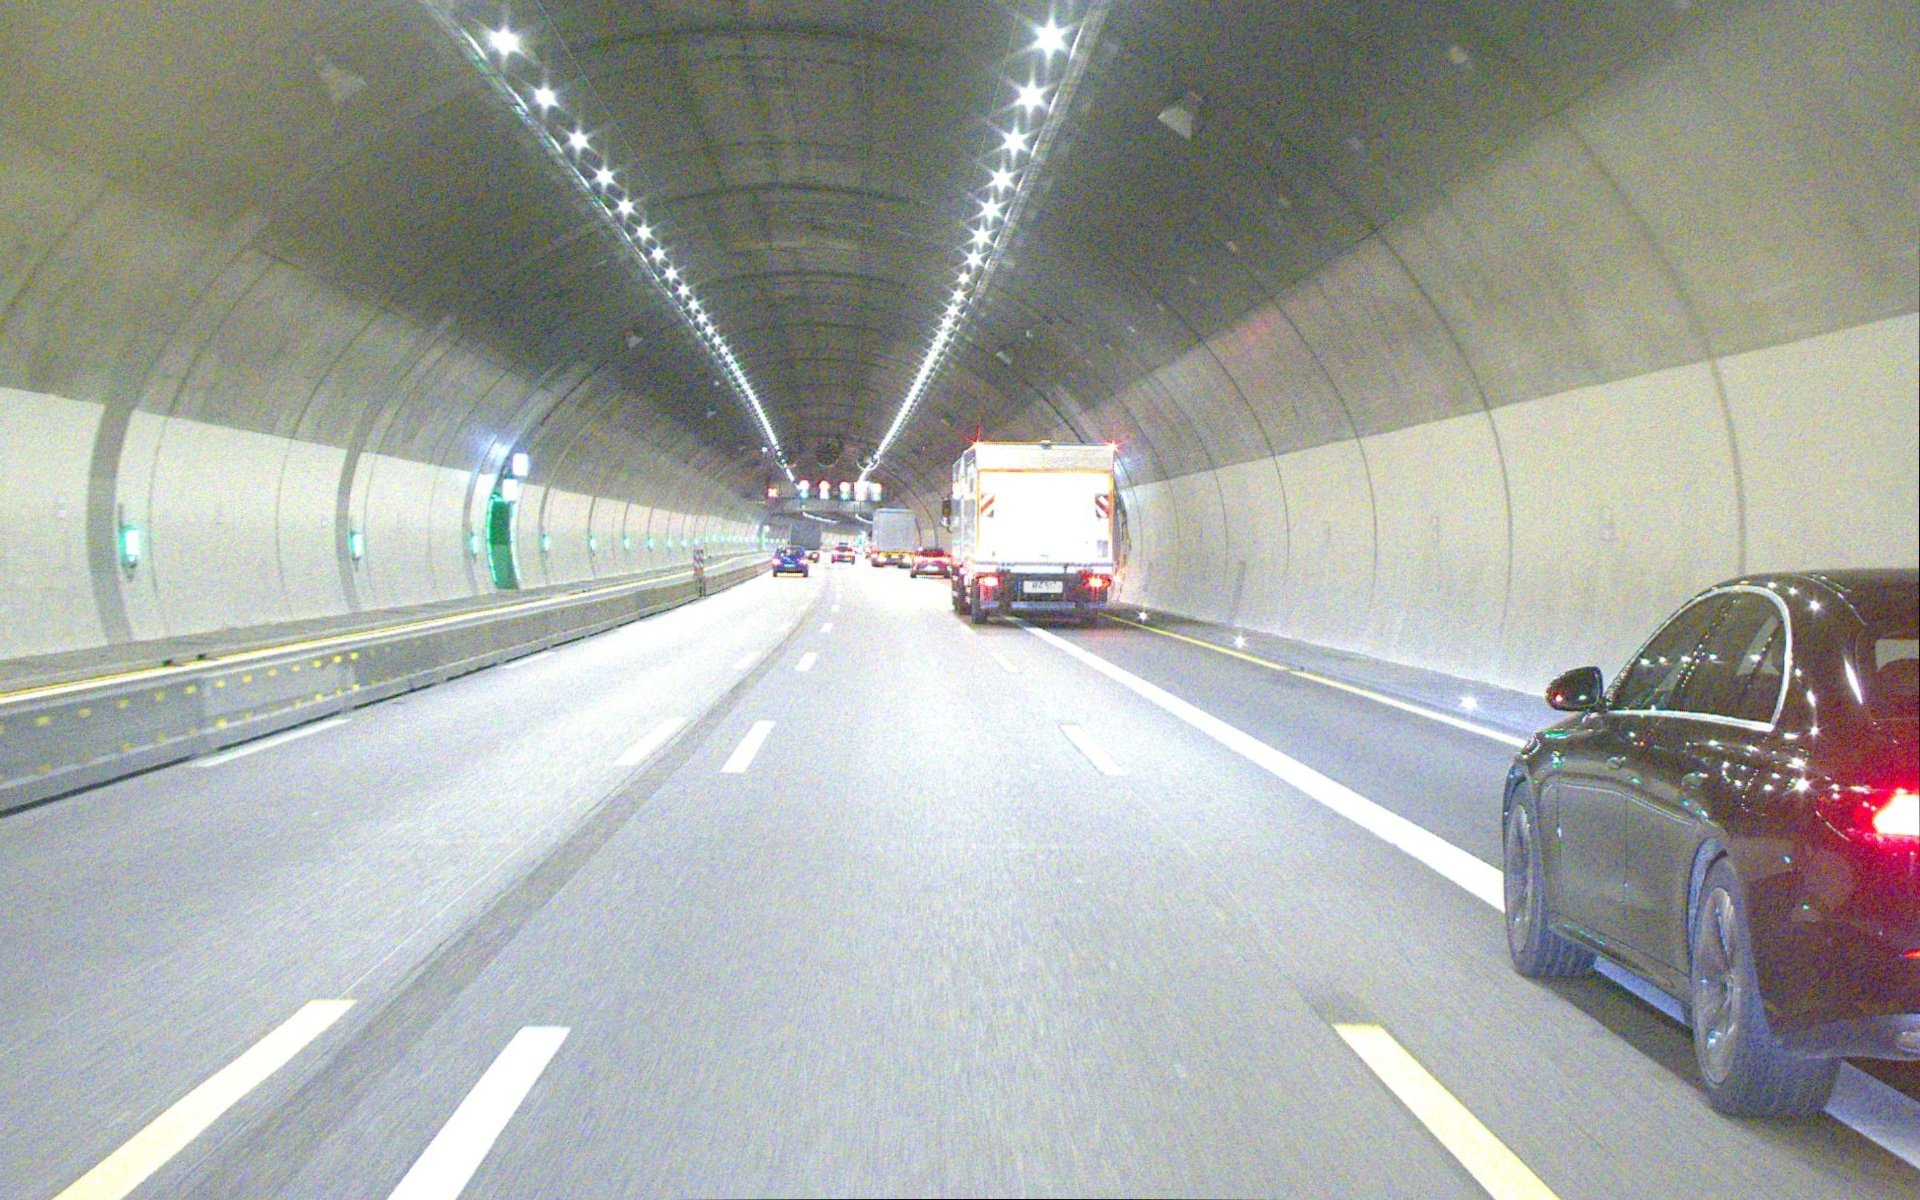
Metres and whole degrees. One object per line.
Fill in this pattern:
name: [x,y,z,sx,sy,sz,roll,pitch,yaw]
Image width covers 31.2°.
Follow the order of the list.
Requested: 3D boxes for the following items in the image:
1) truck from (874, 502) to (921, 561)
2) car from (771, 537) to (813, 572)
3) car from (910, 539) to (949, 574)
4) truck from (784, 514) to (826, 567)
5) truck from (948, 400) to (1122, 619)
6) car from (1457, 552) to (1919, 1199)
truck: [-4.278,-4.687,236.837,3.066,3.904,10.368,1,1,-1]
car: [-7.417,-2.036,152.310,1.758,1.456,4.119,0,2,-2]
car: [-1.380,-1.979,155.378,1.739,1.456,3.961,0,2,-1]
truck: [-11.767,-4.482,261.253,3.066,3.904,10.369,1,1,-2]
truck: [1.440,-1.689,67.322,3.092,3.904,10.368,1,1,1]
car: [2.860,0.607,10.407,1.925,1.467,4.955,0,1,-1]
